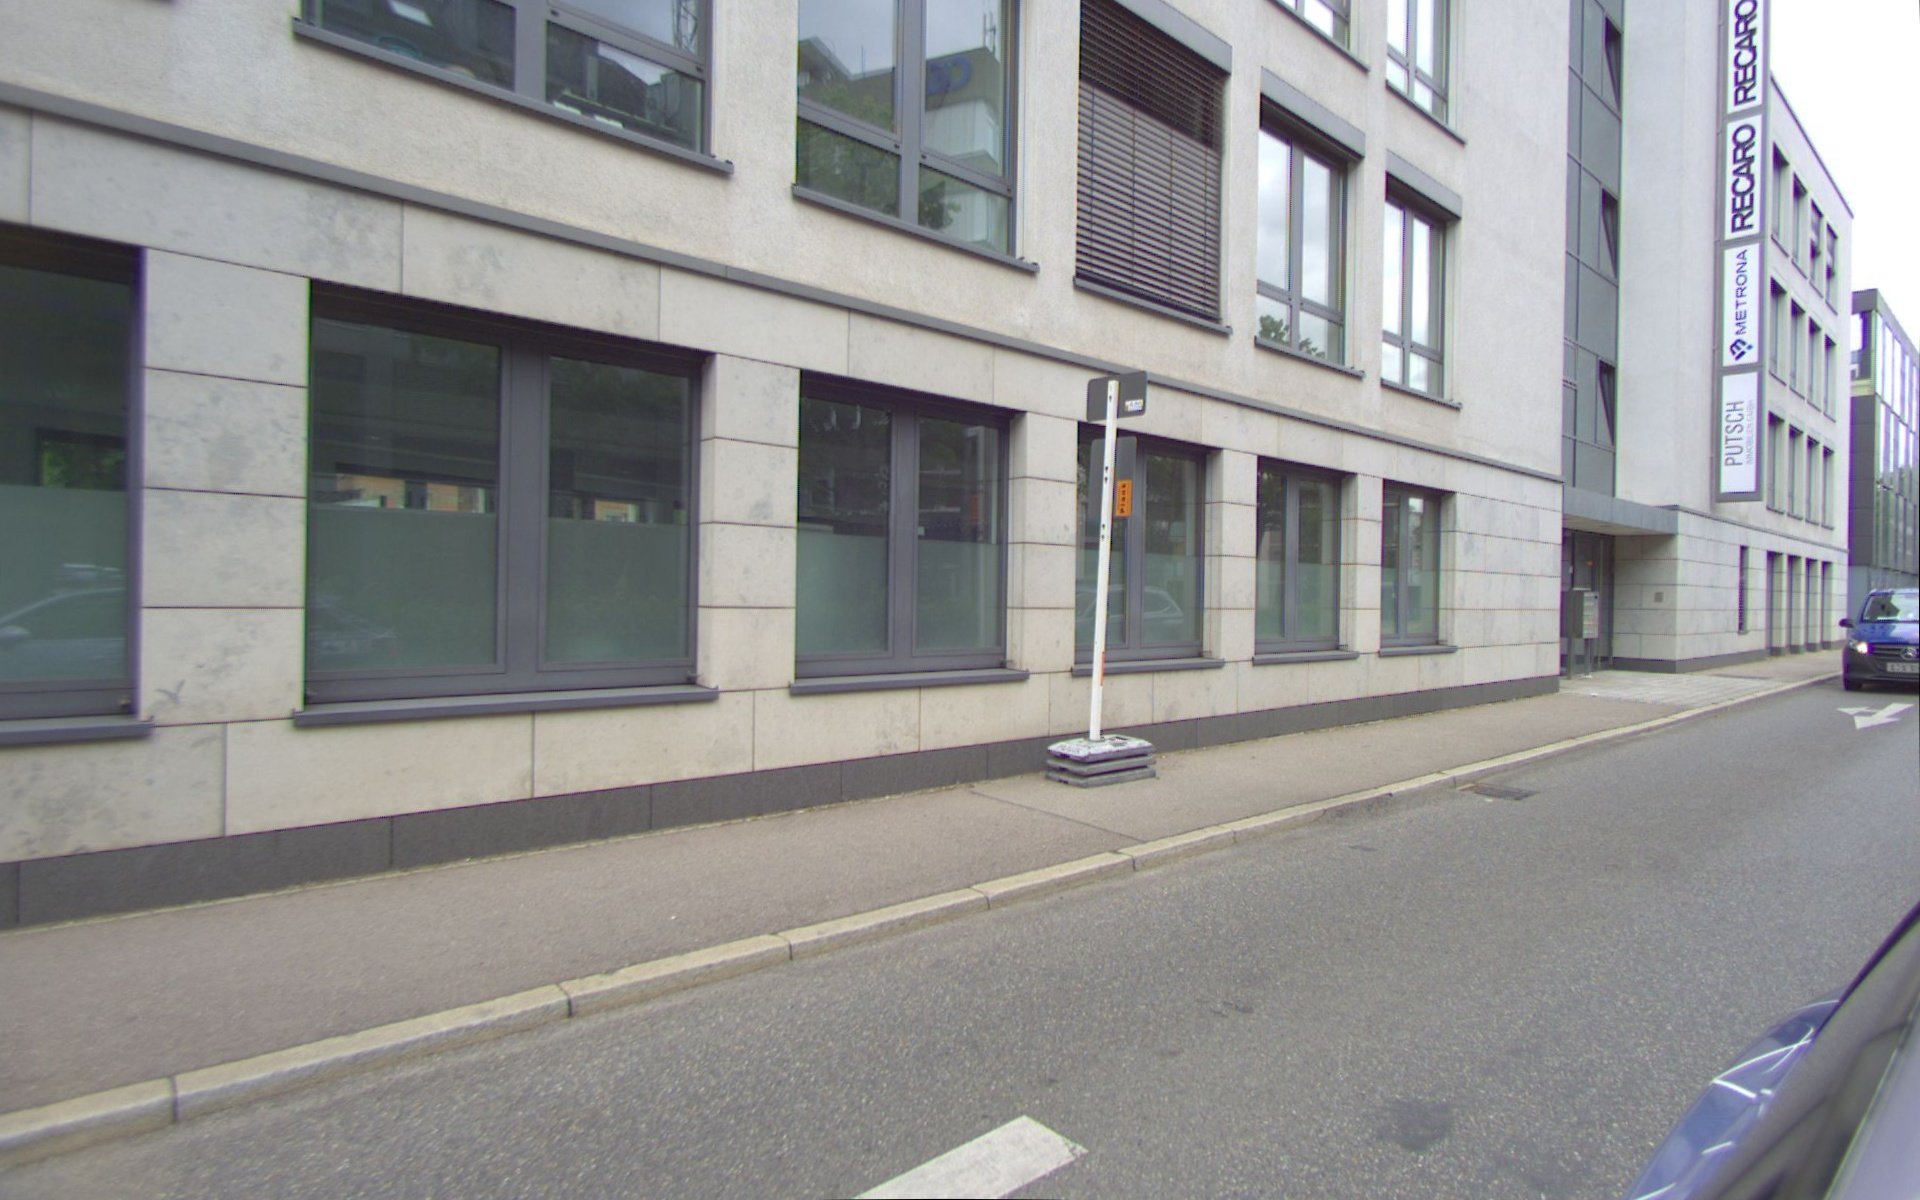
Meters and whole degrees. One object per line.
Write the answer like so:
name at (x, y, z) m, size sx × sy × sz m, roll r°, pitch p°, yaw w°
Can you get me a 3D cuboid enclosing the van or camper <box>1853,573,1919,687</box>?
van or camper at (18.191, 0.511, 18.726) m, size 4.944 × 1.935 × 1.863 m, roll 0°, pitch 1°, yaw -41°
